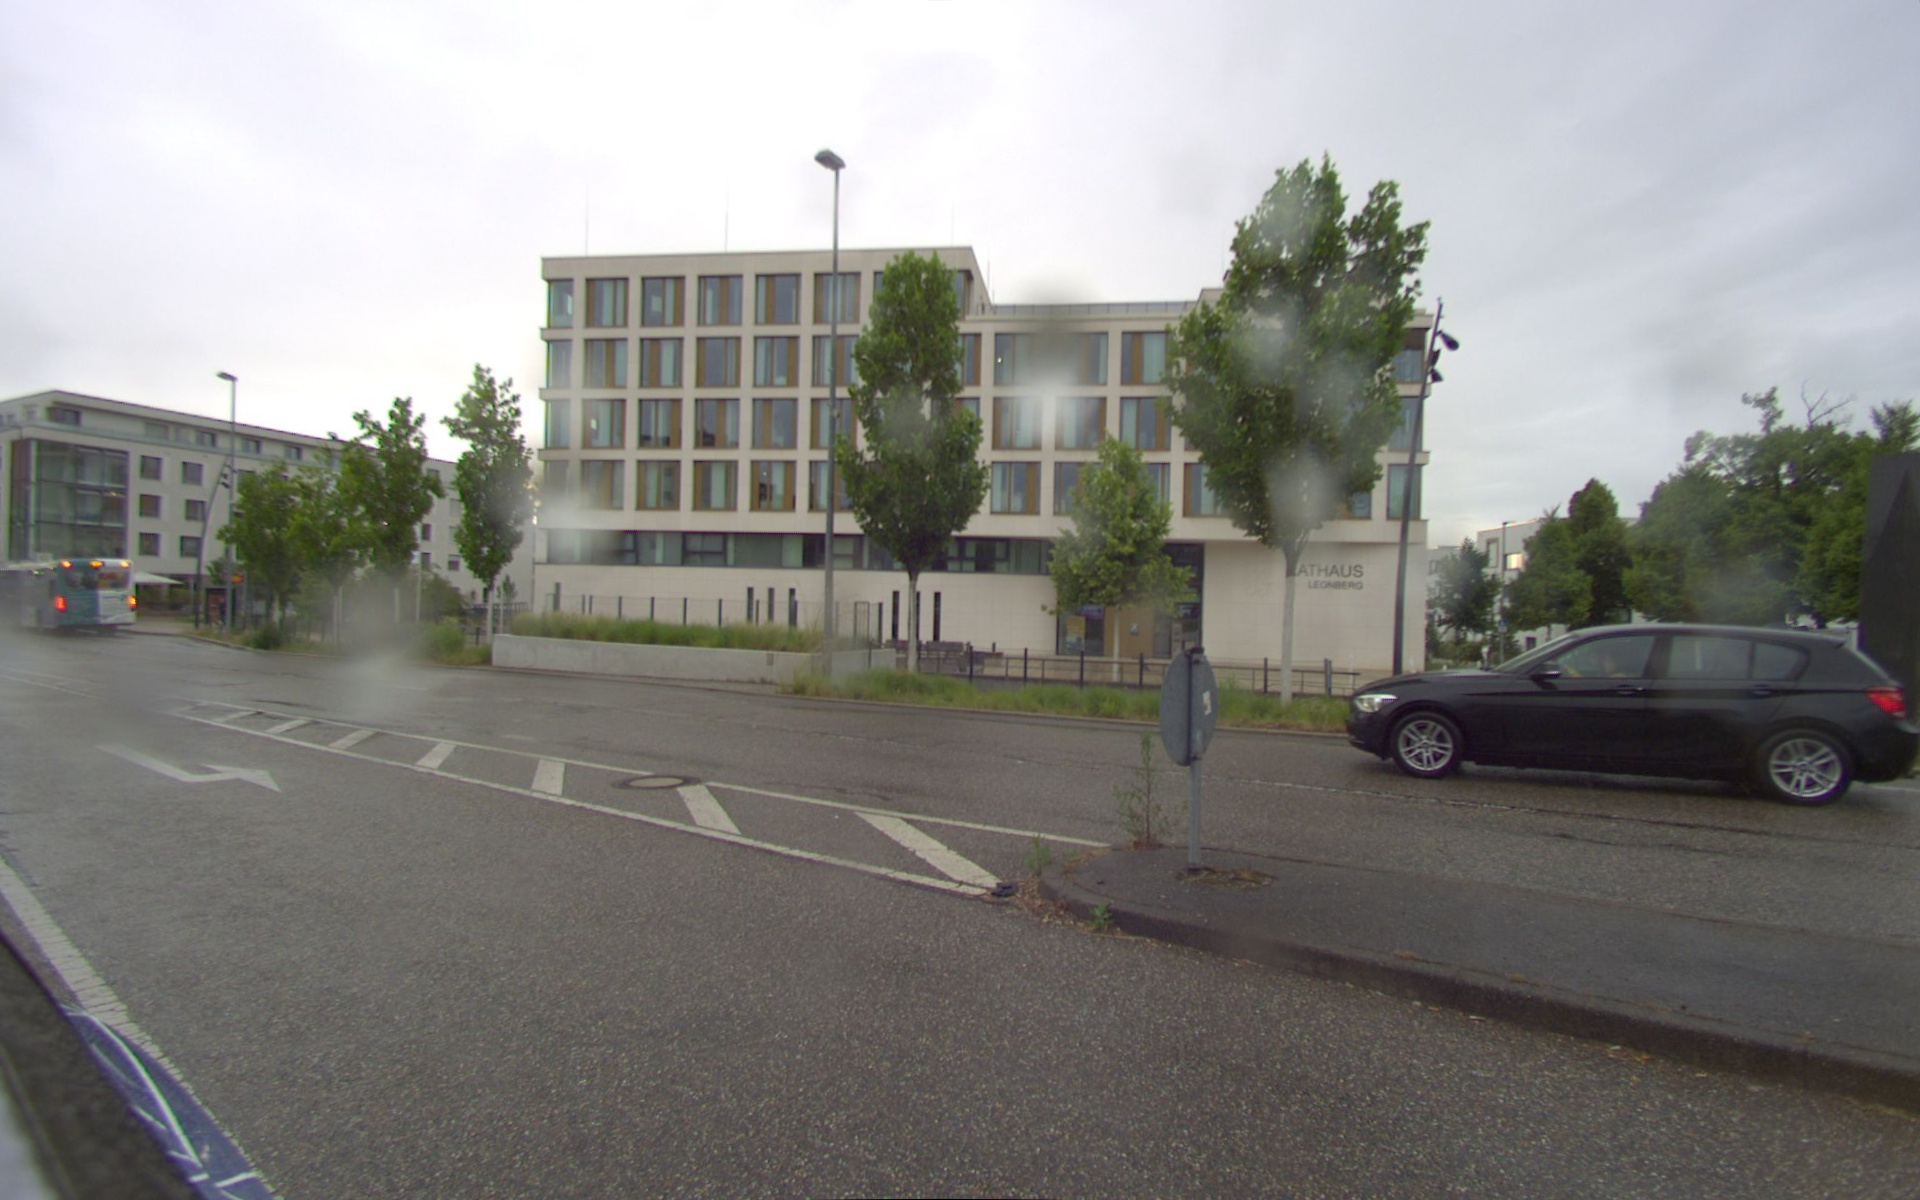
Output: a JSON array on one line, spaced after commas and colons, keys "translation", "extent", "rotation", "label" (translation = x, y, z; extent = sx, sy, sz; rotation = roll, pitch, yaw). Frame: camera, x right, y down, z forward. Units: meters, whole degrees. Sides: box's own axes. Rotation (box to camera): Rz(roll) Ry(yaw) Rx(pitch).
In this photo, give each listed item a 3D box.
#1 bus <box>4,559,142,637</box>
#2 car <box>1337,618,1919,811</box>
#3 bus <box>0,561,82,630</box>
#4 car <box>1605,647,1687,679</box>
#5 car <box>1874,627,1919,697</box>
[{"translation": [-38.964, -0.021, 44.336], "extent": [9.354, 3.138, 2.750], "rotation": [-1, -2, 38], "label": "bus"}, {"translation": [5.739, 0.877, 9.058], "extent": [4.260, 1.401, 1.774], "rotation": [-1, -2, 27], "label": "car"}, {"translation": [-46.414, -0.149, 49.694], "extent": [8.861, 3.138, 2.768], "rotation": [0, -2, 34], "label": "bus"}, {"translation": [35.347, 3.253, 52.278], "extent": [1.978, 1.551, 3.987], "rotation": [1, -3, 10], "label": "car"}, {"translation": [34.128, 2.105, 33.807], "extent": [1.974, 2.428, 5.911], "rotation": [1, -3, 3], "label": "car"}]
